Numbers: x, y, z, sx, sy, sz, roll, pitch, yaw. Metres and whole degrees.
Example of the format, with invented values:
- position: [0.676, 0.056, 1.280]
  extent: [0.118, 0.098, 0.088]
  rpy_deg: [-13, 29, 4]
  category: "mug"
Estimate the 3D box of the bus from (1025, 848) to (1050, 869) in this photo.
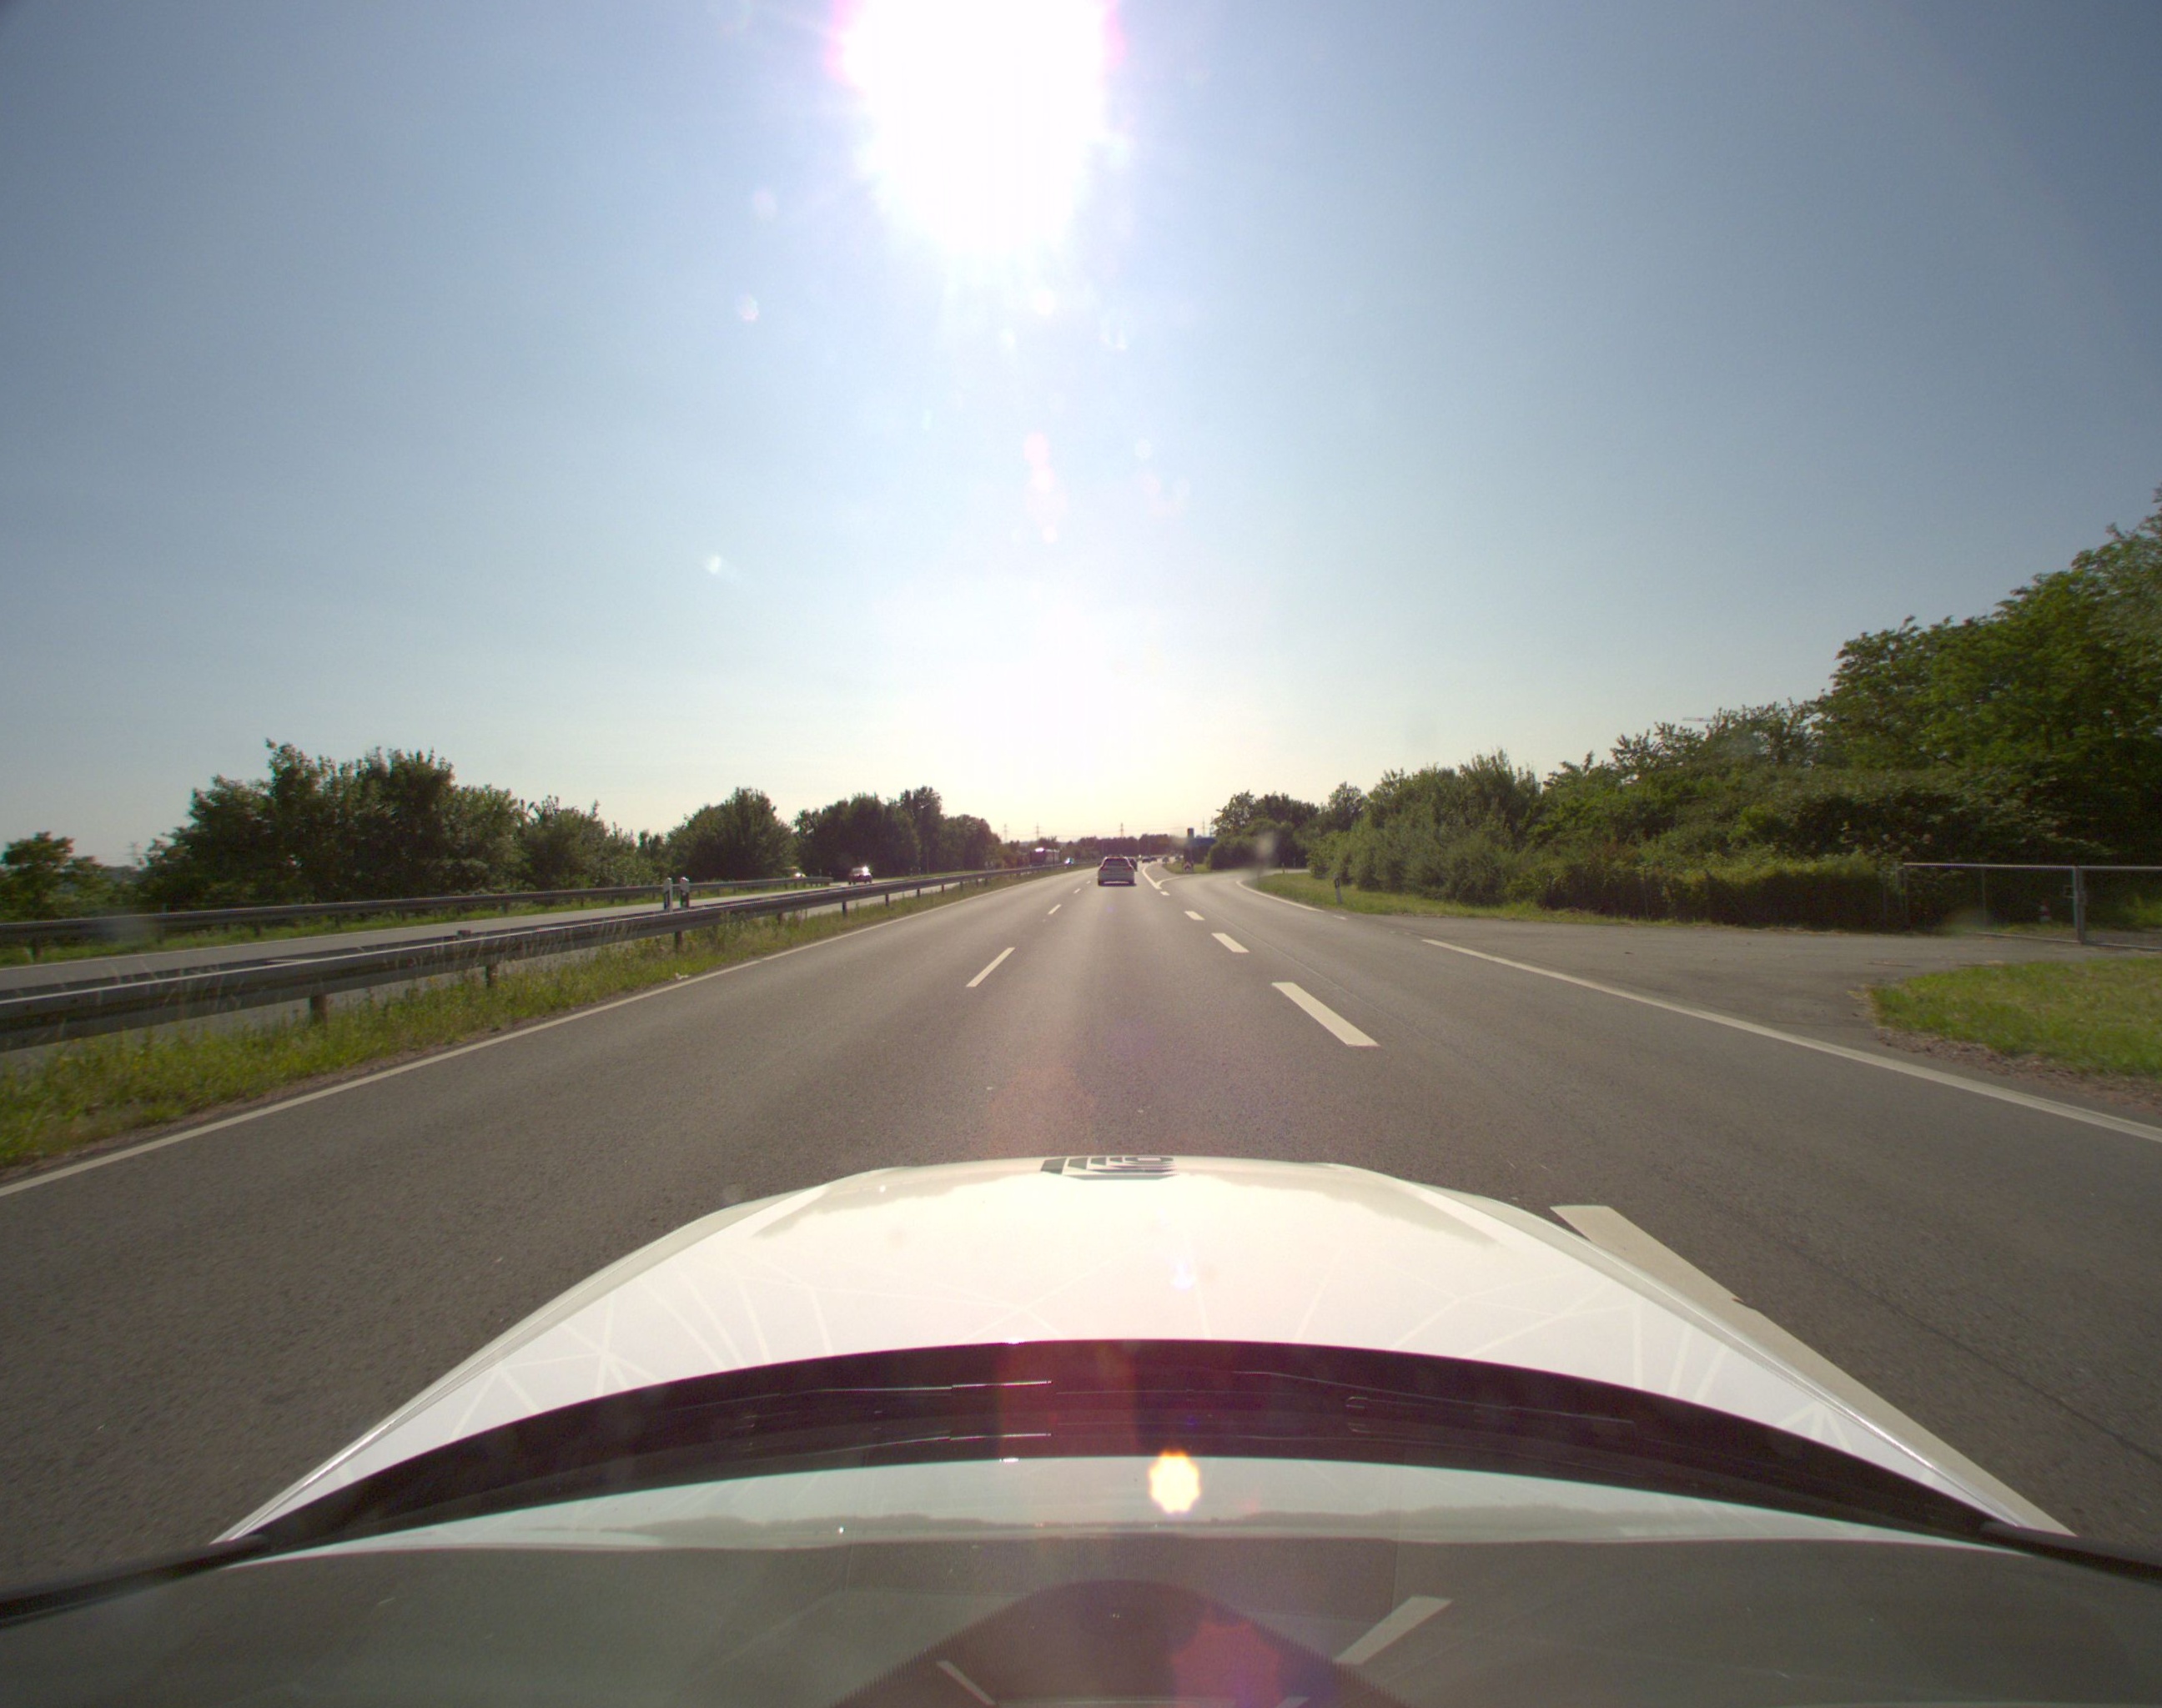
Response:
- position: [-6.721, 0.649, 127.453]
  extent: [2.714, 3.110, 9.843]
  rpy_deg: [-2, 0, 3]
  category: "bus"

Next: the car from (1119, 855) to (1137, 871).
- position: [4.765, 0.895, 83.654]
  extent: [1.786, 1.543, 3.674]
  rpy_deg: [-1, 0, 2]
  category: "car"

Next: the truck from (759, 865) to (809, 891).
- position: [-33.209, 2.709, 90.954]
  extent: [6.531, 2.453, 2.147]
  rpy_deg: [-4, -1, 40]
  category: "truck"

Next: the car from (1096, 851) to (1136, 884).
- position: [1.828, 0.677, 42.671]
  extent: [1.950, 1.601, 4.110]
  rpy_deg: [0, 1, 2]
  category: "car"

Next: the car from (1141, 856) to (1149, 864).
- position: [15.271, 1.454, 193.872]
  extent: [1.832, 1.802, 4.007]
  rpy_deg: [-1, 0, 6]
  category: "car"

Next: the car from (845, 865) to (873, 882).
- position: [-20.583, 1.797, 75.387]
  extent: [1.794, 1.445, 3.967]
  rpy_deg: [-2, 0, -25]
  category: "car"

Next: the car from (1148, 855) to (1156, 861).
- position: [19.494, 1.035, 223.769]
  extent: [1.833, 1.698, 4.003]
  rpy_deg: [-1, 0, 3]
  category: "car"

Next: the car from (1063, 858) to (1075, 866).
- position: [-2.401, 1.663, 166.454]
  extent: [1.984, 1.605, 4.279]
  rpy_deg: [0, 1, 4]
  category: "car"
